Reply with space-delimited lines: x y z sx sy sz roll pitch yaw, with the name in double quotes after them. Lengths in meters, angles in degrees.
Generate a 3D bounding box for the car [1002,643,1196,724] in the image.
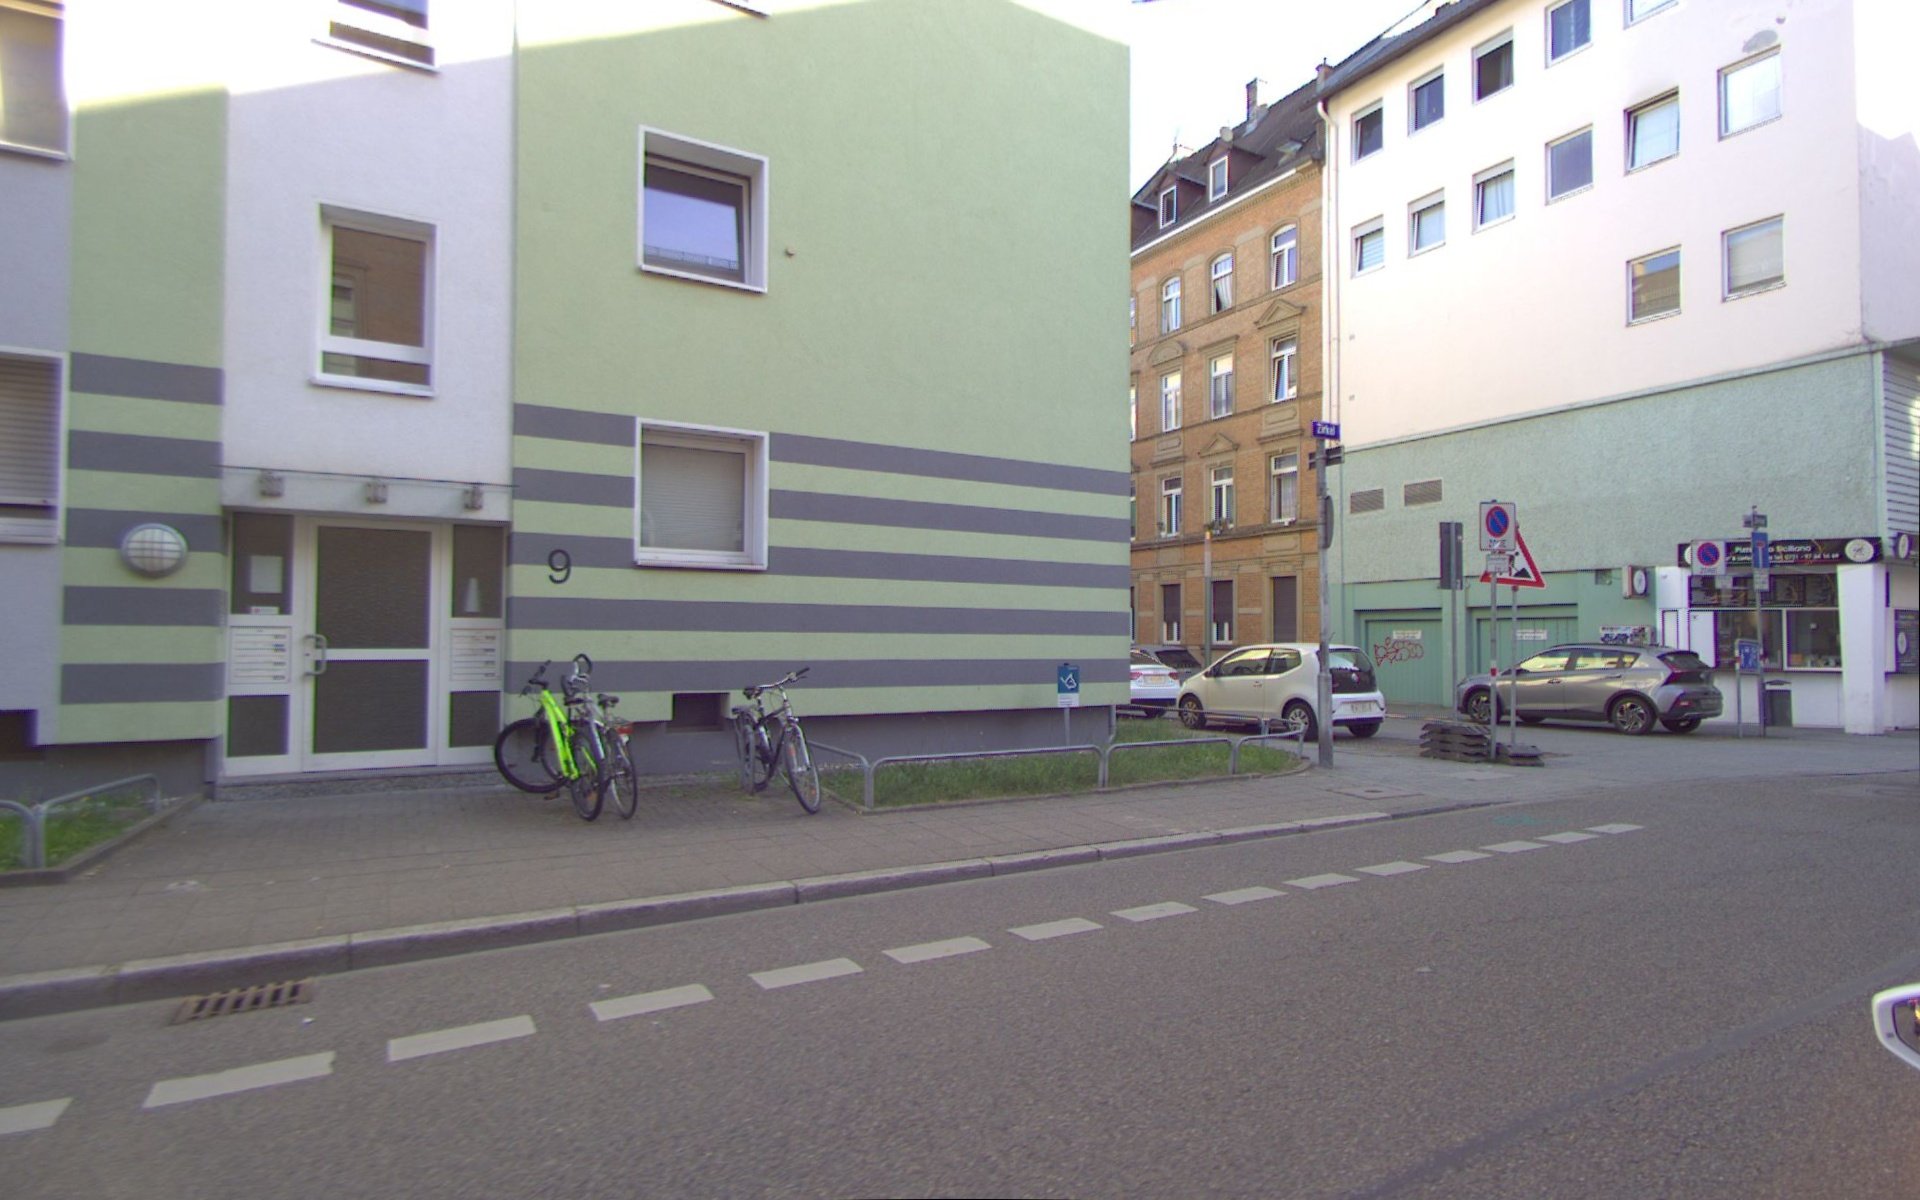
2.769 1.650 21.005 1.791 1.462 4.338 1 -2 -29 "car"

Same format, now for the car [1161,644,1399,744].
5.170 1.466 16.644 1.791 1.461 3.486 1 -3 -29 "car"

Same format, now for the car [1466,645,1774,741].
11.332 1.525 17.563 1.924 1.461 4.082 1 -3 -29 "car"

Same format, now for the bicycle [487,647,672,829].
-3.090 1.026 8.053 1.909 1.195 0.610 2 0 44 "bicycle"

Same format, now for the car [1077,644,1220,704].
5.185 2.005 28.101 1.705 1.521 4.026 1 -2 -31 "car"

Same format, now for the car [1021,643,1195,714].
3.554 1.868 25.064 1.975 1.562 4.595 1 -3 -28 "car"

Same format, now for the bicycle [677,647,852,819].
-1.715 1.058 8.577 0.608 1.195 1.913 2 0 -39 "bicycle"
